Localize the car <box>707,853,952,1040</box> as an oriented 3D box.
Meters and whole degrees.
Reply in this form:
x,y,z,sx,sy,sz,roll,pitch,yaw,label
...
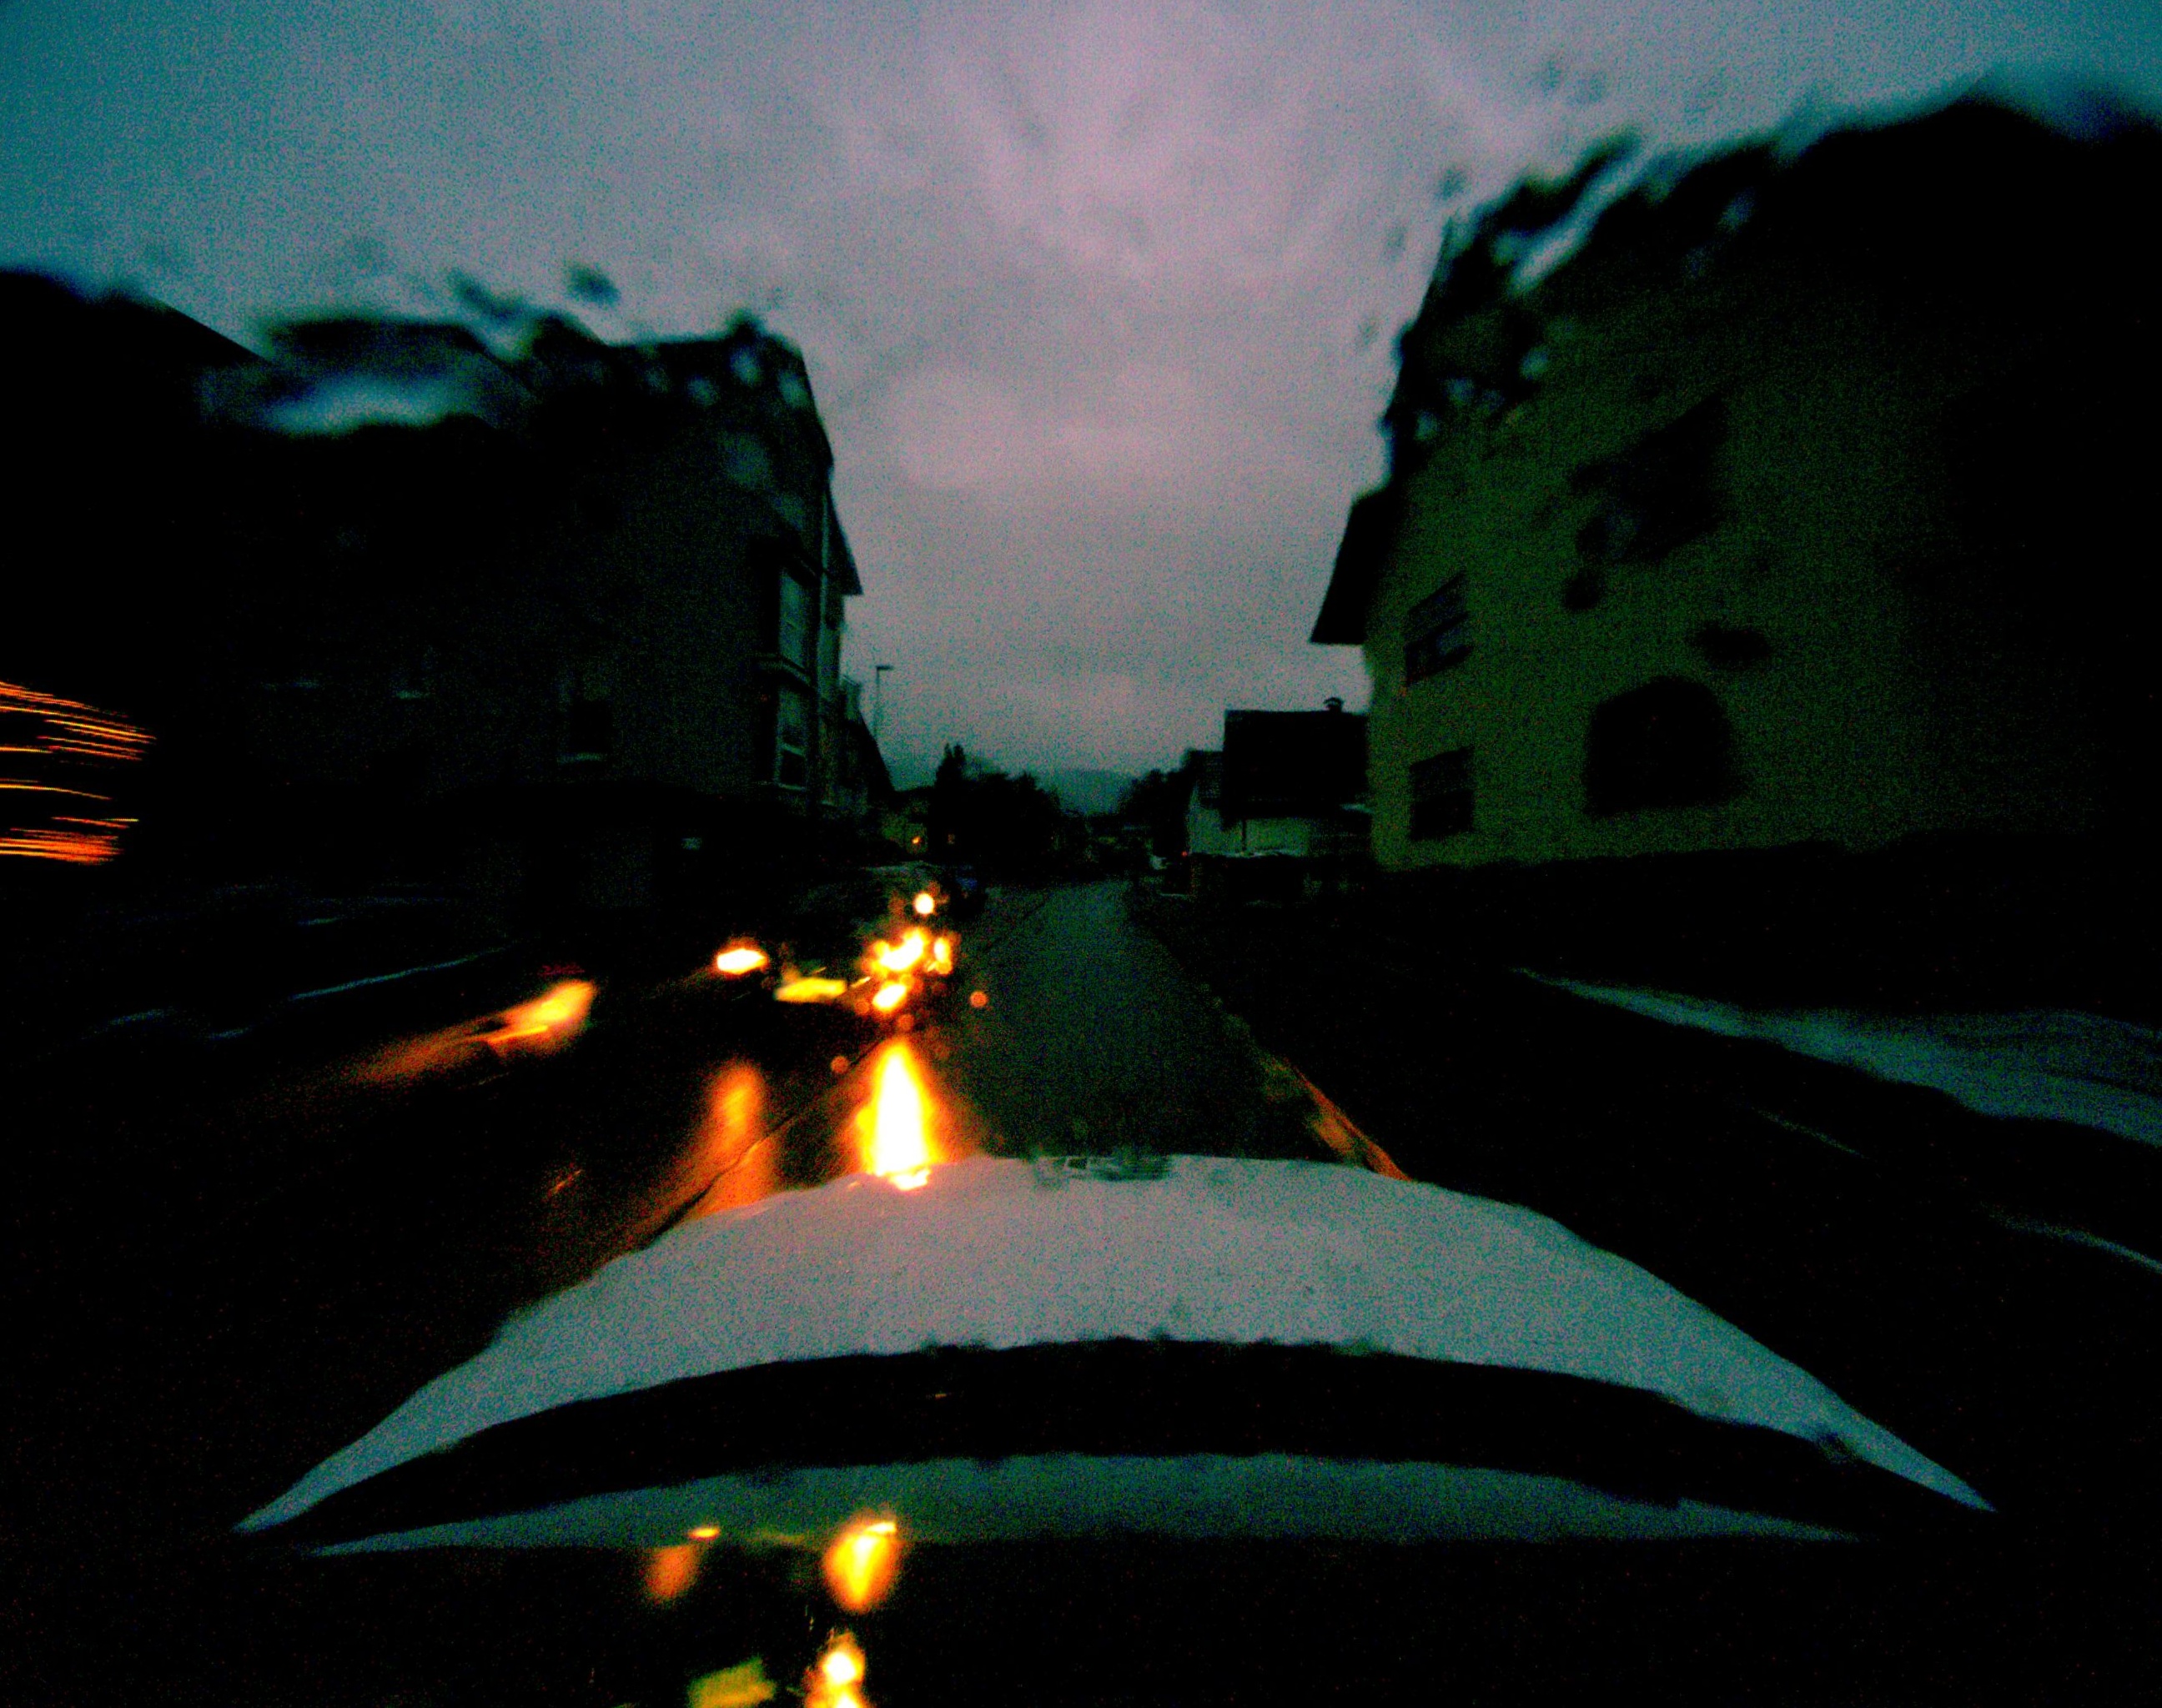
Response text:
x,y,z,sx,sy,sz,roll,pitch,yaw,label
-2.443,0.772,9.023,1.772,1.495,4.369,-2,0,-7,car

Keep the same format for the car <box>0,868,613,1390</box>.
x,y,z,sx,sy,sz,roll,pitch,yaw,label
-3.971,0.827,3.178,1.728,1.444,4.438,-1,0,-1,car

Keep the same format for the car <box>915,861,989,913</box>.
x,y,z,sx,sy,sz,roll,pitch,yaw,label
-3.847,0.930,24.867,1.663,1.410,3.912,0,0,-1,car

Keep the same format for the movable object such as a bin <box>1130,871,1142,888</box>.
x,y,z,sx,sy,sz,roll,pitch,yaw,label
3.276,1.528,48.561,0.611,0.946,0.596,-4,-3,7,movable object such as a bin

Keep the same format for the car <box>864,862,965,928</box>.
x,y,z,sx,sy,sz,roll,pitch,yaw,label
-3.924,0.920,19.722,1.659,1.418,3.690,1,-1,0,car
